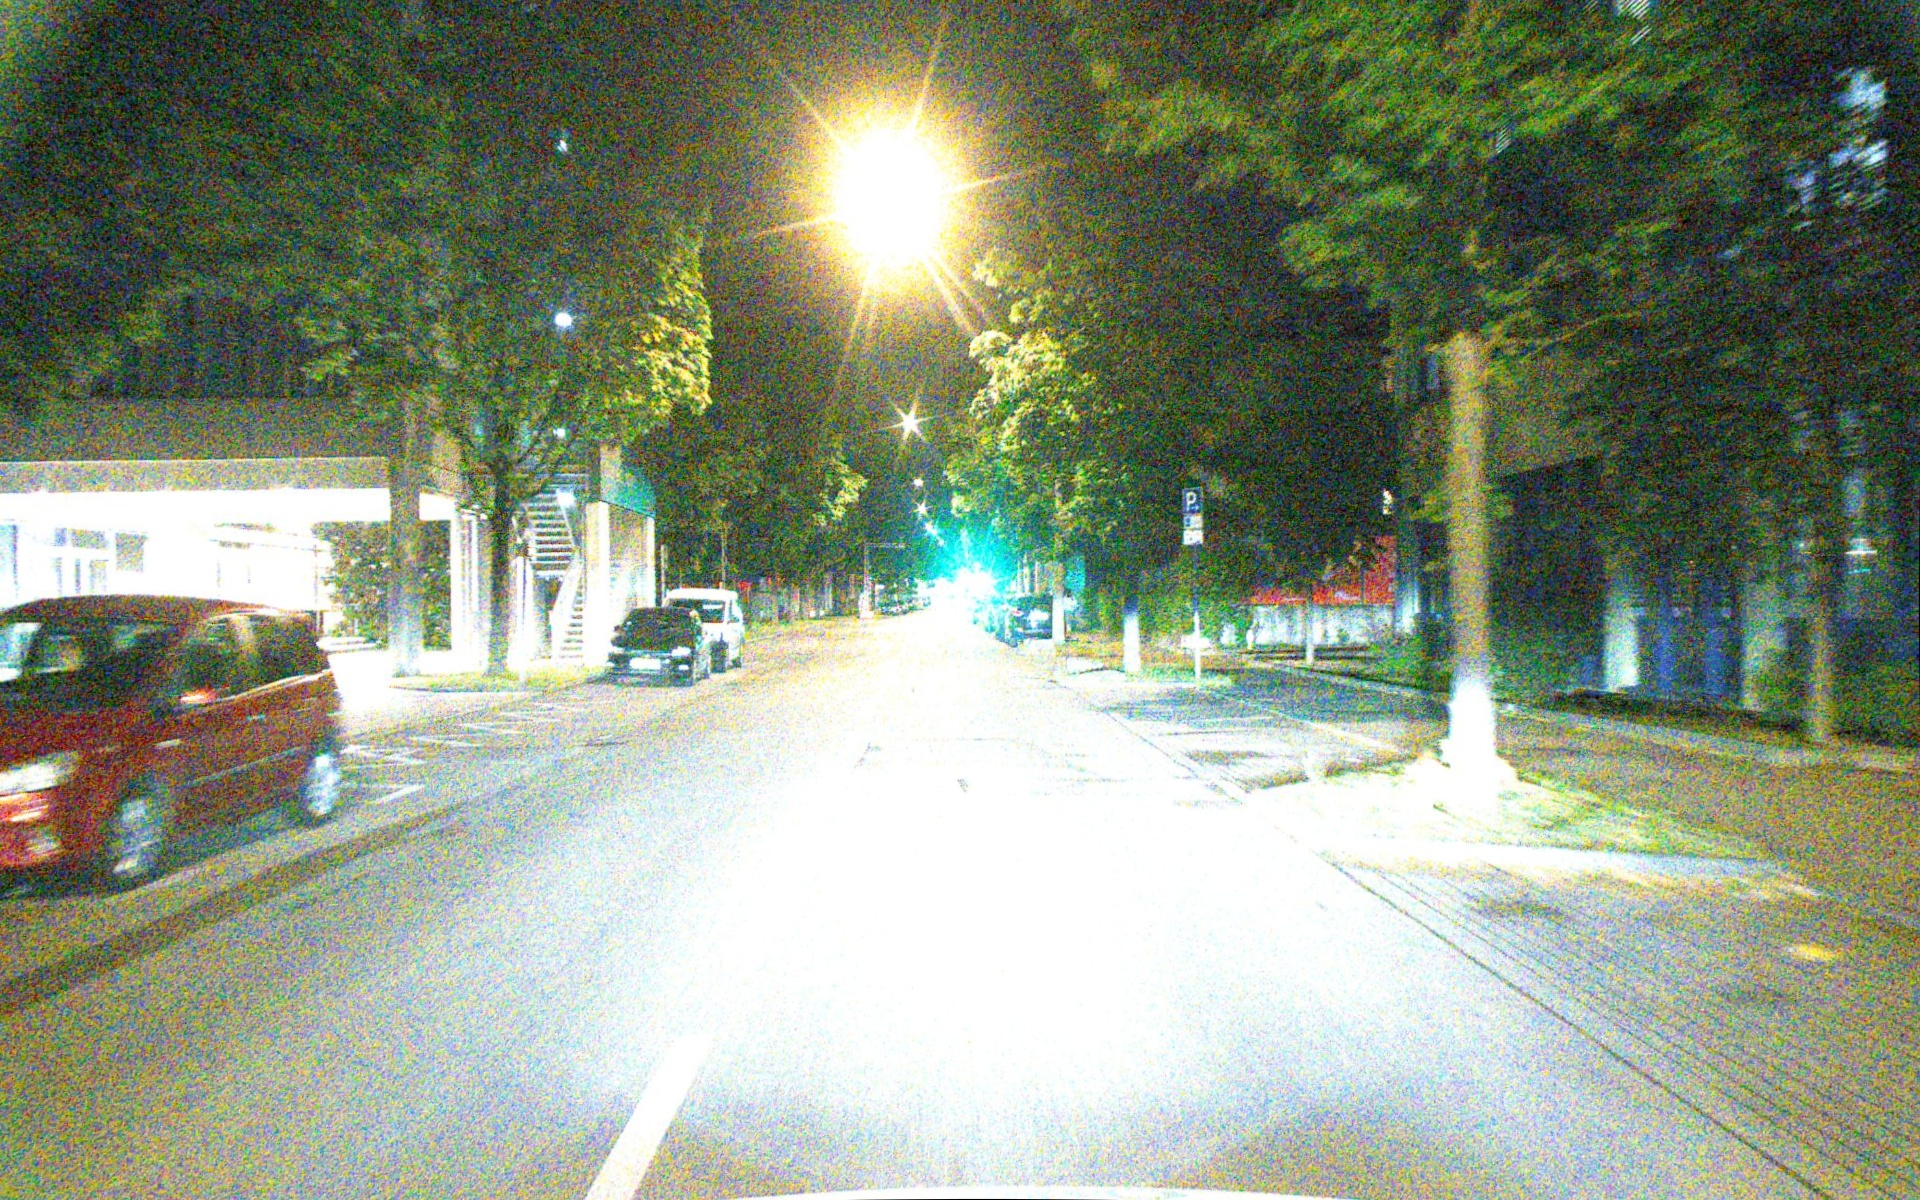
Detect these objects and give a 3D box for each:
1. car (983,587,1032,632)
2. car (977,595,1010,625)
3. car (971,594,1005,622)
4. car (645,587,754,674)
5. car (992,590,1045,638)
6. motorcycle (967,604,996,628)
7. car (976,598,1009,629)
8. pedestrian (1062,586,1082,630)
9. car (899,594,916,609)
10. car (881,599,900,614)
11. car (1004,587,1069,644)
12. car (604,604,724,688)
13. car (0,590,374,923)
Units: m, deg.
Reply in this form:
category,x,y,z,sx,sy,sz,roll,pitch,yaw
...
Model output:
category,x,y,z,sx,sy,sz,roll,pitch,yaw
car,2.085,0.400,73.564,1.736,1.838,4.275,-3,0,-3
car,1.835,0.525,90.482,1.559,1.561,4.137,-3,0,-1
car,1.652,0.459,97.849,1.815,1.618,4.299,-1,0,-1
car,-5.998,0.660,38.568,1.785,1.843,4.210,2,0,0
car,2.122,0.484,59.525,1.814,1.632,4.210,-1,0,2
motorcycle,1.227,0.910,93.888,0.625,1.292,2.058,-1,0,34
car,1.586,0.642,81.335,1.489,1.420,3.984,-2,0,0
pedestrian,4.548,0.321,67.438,0.691,1.752,0.821,-2,0,-1
car,-5.527,0.115,175.373,1.705,1.440,3.752,0,1,-1
car,-6.759,0.599,161.050,1.705,1.440,3.751,0,0,-1
car,2.433,0.475,53.423,1.815,1.682,4.209,-3,0,0
car,-5.747,0.852,32.515,1.665,1.458,3.828,2,0,-1
car,-5.379,0.789,10.507,1.785,1.626,4.073,2,0,0
